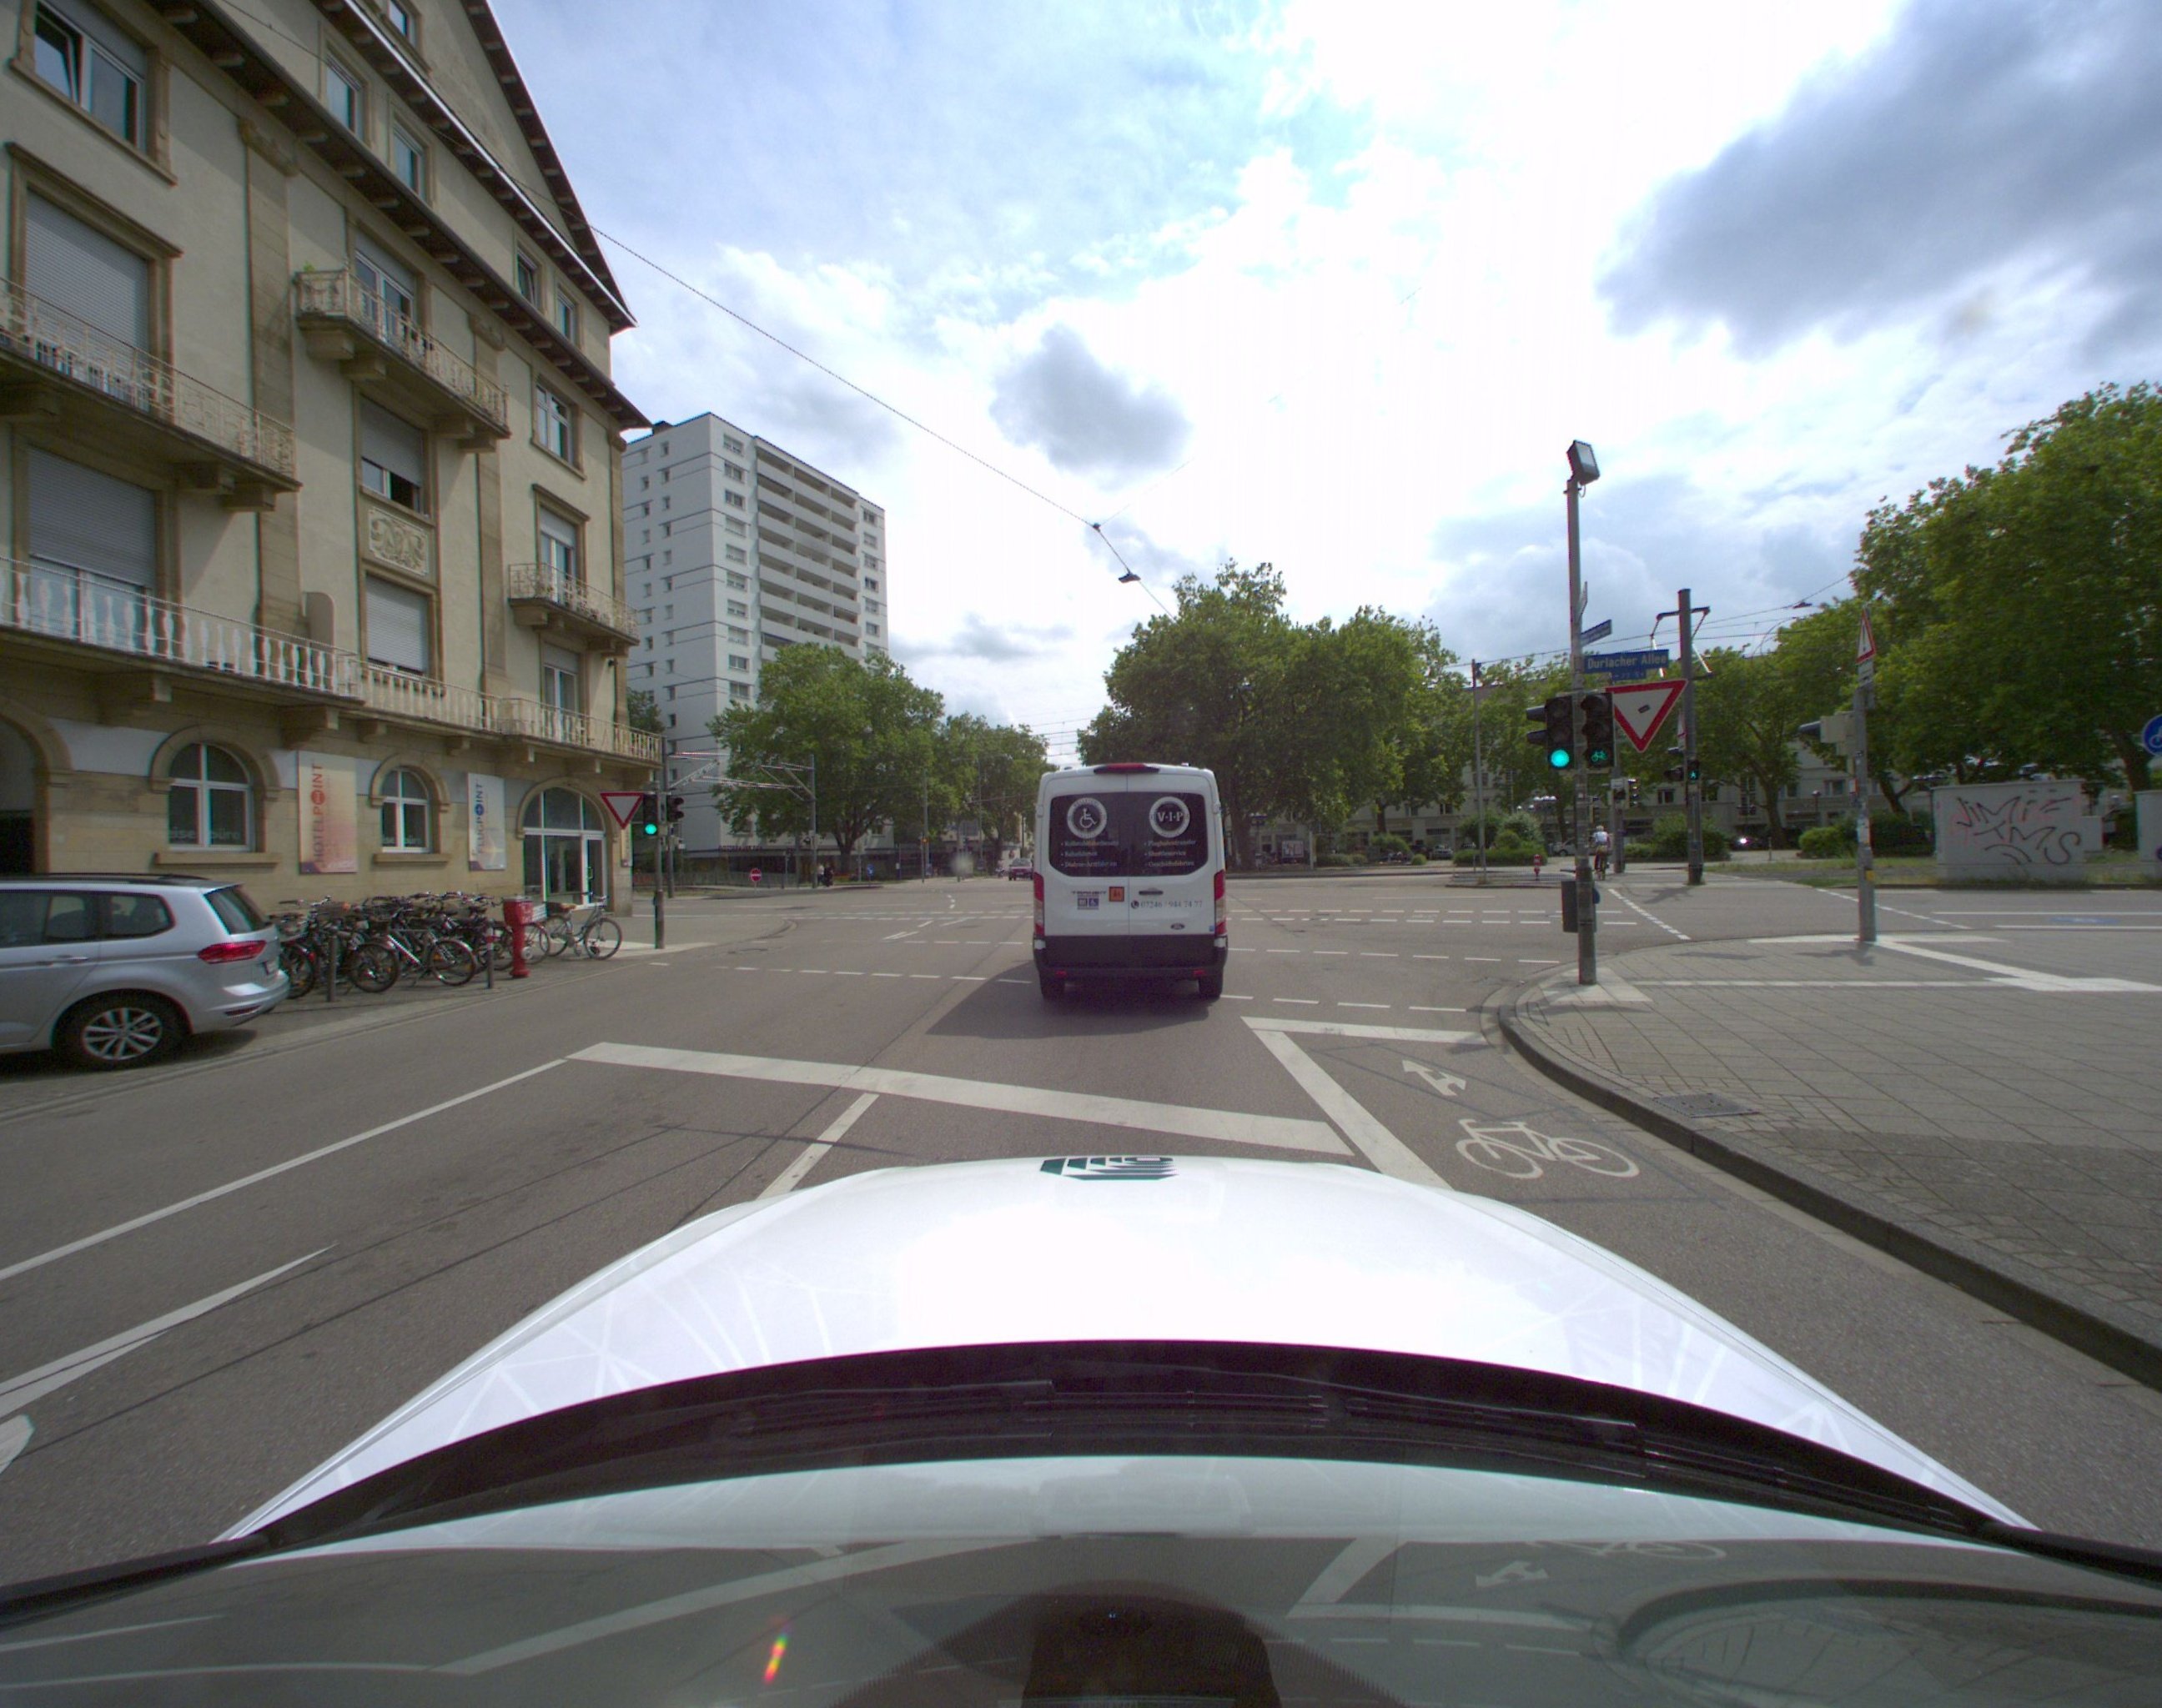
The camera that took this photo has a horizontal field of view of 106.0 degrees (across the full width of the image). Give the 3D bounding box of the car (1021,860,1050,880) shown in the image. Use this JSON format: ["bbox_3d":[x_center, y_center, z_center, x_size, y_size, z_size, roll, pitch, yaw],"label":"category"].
[{"bbox_3d":[-3.655,1.275,65.973,1.735,1.427,4.036,-2,0,4],"label":"car"}]

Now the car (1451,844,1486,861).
[{"bbox_3d":[38.321,-0.167,80.621,1.983,1.519,4.008,-2,0,7],"label":"car"}]

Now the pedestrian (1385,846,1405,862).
[{"bbox_3d":[24.531,0.010,63.676,1.086,1.236,1.443,-4,-1,6],"label":"pedestrian"}]

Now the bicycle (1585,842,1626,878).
[{"bbox_3d":[16.489,0.169,25.649,0.894,1.075,1.982,-2,0,28],"label":"bicycle"}]

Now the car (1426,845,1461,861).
[{"bbox_3d":[36.104,-0.080,81.181,1.983,1.503,4.008,-2,0,7],"label":"car"}]

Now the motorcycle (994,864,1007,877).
[{"bbox_3d":[-6.641,1.374,67.380,0.680,0.971,2.325,-2,0,2],"label":"motorcycle"}]

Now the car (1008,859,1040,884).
[{"bbox_3d":[-3.795,1.143,54.506,1.585,1.508,3.811,-2,0,3],"label":"car"}]

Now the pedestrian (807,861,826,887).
[{"bbox_3d":[-16.227,1.244,49.958,0.799,1.572,0.728,-2,0,31],"label":"pedestrian"}]

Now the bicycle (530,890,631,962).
[{"bbox_3d":[-8.846,1.245,14.383,1.859,1.167,0.500,0,-1,22],"label":"bicycle"}]

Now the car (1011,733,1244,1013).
[{"bbox_3d":[0.484,0.160,10.237,2.174,2.647,4.628,-2,1,1],"label":"car"}]

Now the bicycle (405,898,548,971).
[{"bbox_3d":[-9.842,1.292,13.300,1.807,1.120,0.593,0,-1,-6],"label":"bicycle"}]

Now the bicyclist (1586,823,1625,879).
[{"bbox_3d":[16.480,-0.091,25.613,0.895,1.683,0.761,-2,0,26],"label":"bicyclist"}]

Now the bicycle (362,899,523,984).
[{"bbox_3d":[-9.352,1.270,11.978,1.807,1.166,0.593,0,-1,-6],"label":"bicycle"}]

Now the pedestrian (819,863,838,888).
[{"bbox_3d":[-15.907,1.353,51.369,0.920,1.514,0.728,-2,0,40],"label":"pedestrian"}]

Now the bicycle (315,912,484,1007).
[{"bbox_3d":[-8.818,1.356,10.554,1.799,1.120,0.595,-2,0,8],"label":"bicycle"}]

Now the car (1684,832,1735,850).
[{"bbox_3d":[55.654,-1.122,72.220,1.757,1.503,4.008,-2,0,7],"label":"car"}]

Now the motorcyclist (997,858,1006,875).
[{"bbox_3d":[-6.639,1.020,67.984,0.680,1.395,0.682,-2,0,2],"label":"motorcyclist"}]

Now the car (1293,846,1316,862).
[{"bbox_3d":[23.971,-0.017,87.380,1.795,1.684,4.008,-2,0,7],"label":"car"}]

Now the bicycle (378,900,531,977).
[{"bbox_3d":[-9.658,1.289,12.598,1.807,1.120,0.593,0,-1,-6],"label":"bicycle"}]

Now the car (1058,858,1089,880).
[{"bbox_3d":[-0.519,1.024,58.165,1.824,1.427,4.125,-2,0,4],"label":"car"}]

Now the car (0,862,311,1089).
[{"bbox_3d":[-9.592,1.036,7.049,4.031,1.773,1.776,-2,0,-37],"label":"car"}]

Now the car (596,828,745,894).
[{"bbox_3d":[-27.156,0.511,53.743,9.792,3.915,3.476,-2,0,26],"label":"car"}]

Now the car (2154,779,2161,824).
[{"bbox_3d":[65.832,-3.201,46.331,5.271,2.585,2.192,-2,-2,24],"label":"car"}]

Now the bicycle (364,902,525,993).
[{"bbox_3d":[-8.749,1.266,11.225,1.800,1.120,0.595,1,0,5],"label":"bicycle"}]

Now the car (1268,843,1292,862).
[{"bbox_3d":[21.523,-0.193,88.166,1.983,1.930,4.008,-2,0,7],"label":"car"}]

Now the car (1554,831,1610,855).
[{"bbox_3d":[43.848,-0.949,71.428,3.950,1.883,1.868,-2,0,26],"label":"car"}]
